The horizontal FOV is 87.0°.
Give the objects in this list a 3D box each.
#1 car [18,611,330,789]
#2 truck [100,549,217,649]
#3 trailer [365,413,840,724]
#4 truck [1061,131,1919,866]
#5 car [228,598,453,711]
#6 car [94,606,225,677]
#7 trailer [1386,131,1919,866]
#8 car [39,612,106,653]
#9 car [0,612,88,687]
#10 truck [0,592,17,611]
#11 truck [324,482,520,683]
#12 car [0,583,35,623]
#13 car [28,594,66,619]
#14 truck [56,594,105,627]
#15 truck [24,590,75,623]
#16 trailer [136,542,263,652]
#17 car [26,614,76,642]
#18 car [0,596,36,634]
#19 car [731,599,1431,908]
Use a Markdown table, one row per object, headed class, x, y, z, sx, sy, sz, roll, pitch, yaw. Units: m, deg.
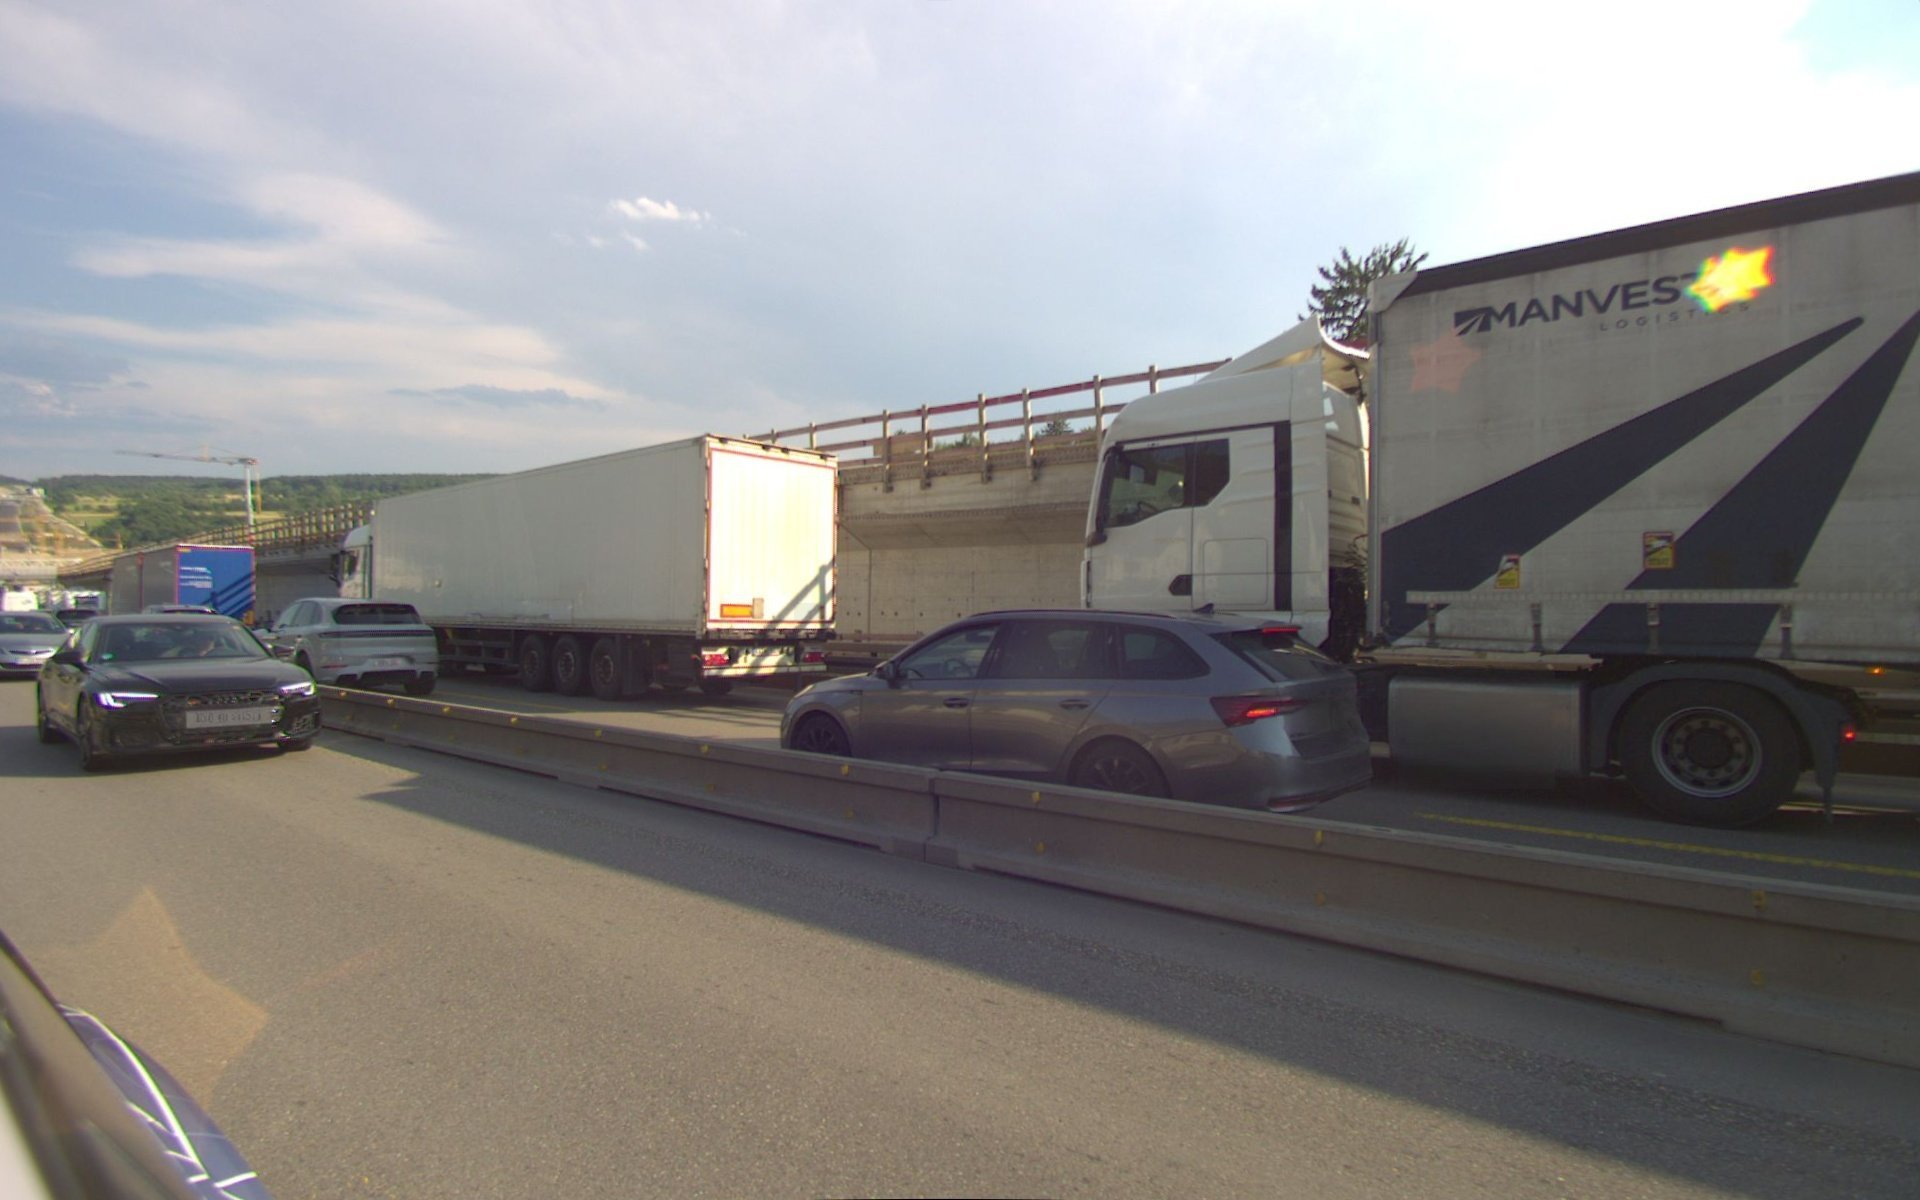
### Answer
| class | x | y | z | sx | sy | sz | roll | pitch | yaw |
| --- | --- | --- | --- | --- | --- | --- | --- | --- | --- |
| car | -8.739 | 0.900 | 11.038 | 5.223 | 1.491 | 1.919 | -1 | -2 | 44 |
| truck | -38.258 | 0.005 | 48.133 | 10.582 | 4.290 | 2.785 | 0 | -1 | 43 |
| trailer | -7.813 | -0.392 | 19.691 | 13.772 | 4.353 | 2.429 | 0 | -1 | 42 |
| truck | 4.169 | -0.556 | 8.819 | 6.111 | 4.235 | 2.736 | 0 | -1 | 41 |
| car | -11.023 | 0.835 | 17.839 | 4.972 | 1.667 | 1.987 | 0 | 1 | 41 |
| car | -21.059 | 1.005 | 26.557 | 4.729 | 1.619 | 1.861 | 0 | 1 | 41 |
| trailer | 9.381 | -0.592 | 4.294 | 13.825 | 4.235 | 2.747 | 0 | -1 | 41 |
| car | -37.129 | 1.326 | 42.325 | 4.370 | 1.588 | 1.680 | 0 | -1 | 43 |
| car | -20.384 | 1.010 | 21.733 | 4.114 | 1.498 | 1.788 | -1 | -2 | 39 |
| truck | -169.218 | 0.290 | 179.914 | 5.765 | 3.196 | 1.971 | -1 | -1 | 44 |
| truck | -13.143 | -0.348 | 24.555 | 5.472 | 4.349 | 2.429 | -1 | -1 | 42 |
| car | -135.014 | 0.517 | 144.883 | 3.281 | 5.428 | 14.307 | 1 | -1 | -44 |
| car | -82.606 | 0.586 | 91.547 | 3.974 | 2.037 | 2.184 | -1 | 2 | 44 |
| truck | -66.992 | 0.776 | 77.063 | 6.066 | 2.318 | 2.249 | -1 | 2 | 44 |
| truck | -92.242 | 0.682 | 102.467 | 6.489 | 3.169 | 3.199 | 0 | -1 | 43 |
| trailer | -31.399 | -0.063 | 41.648 | 8.288 | 4.136 | 2.785 | -1 | -1 | 43 |
| car | -51.189 | 1.572 | 56.956 | 4.592 | 1.451 | 1.723 | -1 | 0 | 44 |
| car | -67.894 | 1.107 | 72.564 | 5.615 | 2.636 | 1.974 | -1 | -2 | 44 |
| car | 0.562 | 0.757 | 7.224 | 4.811 | 1.467 | 1.756 | 1 | 1 | 40 |
